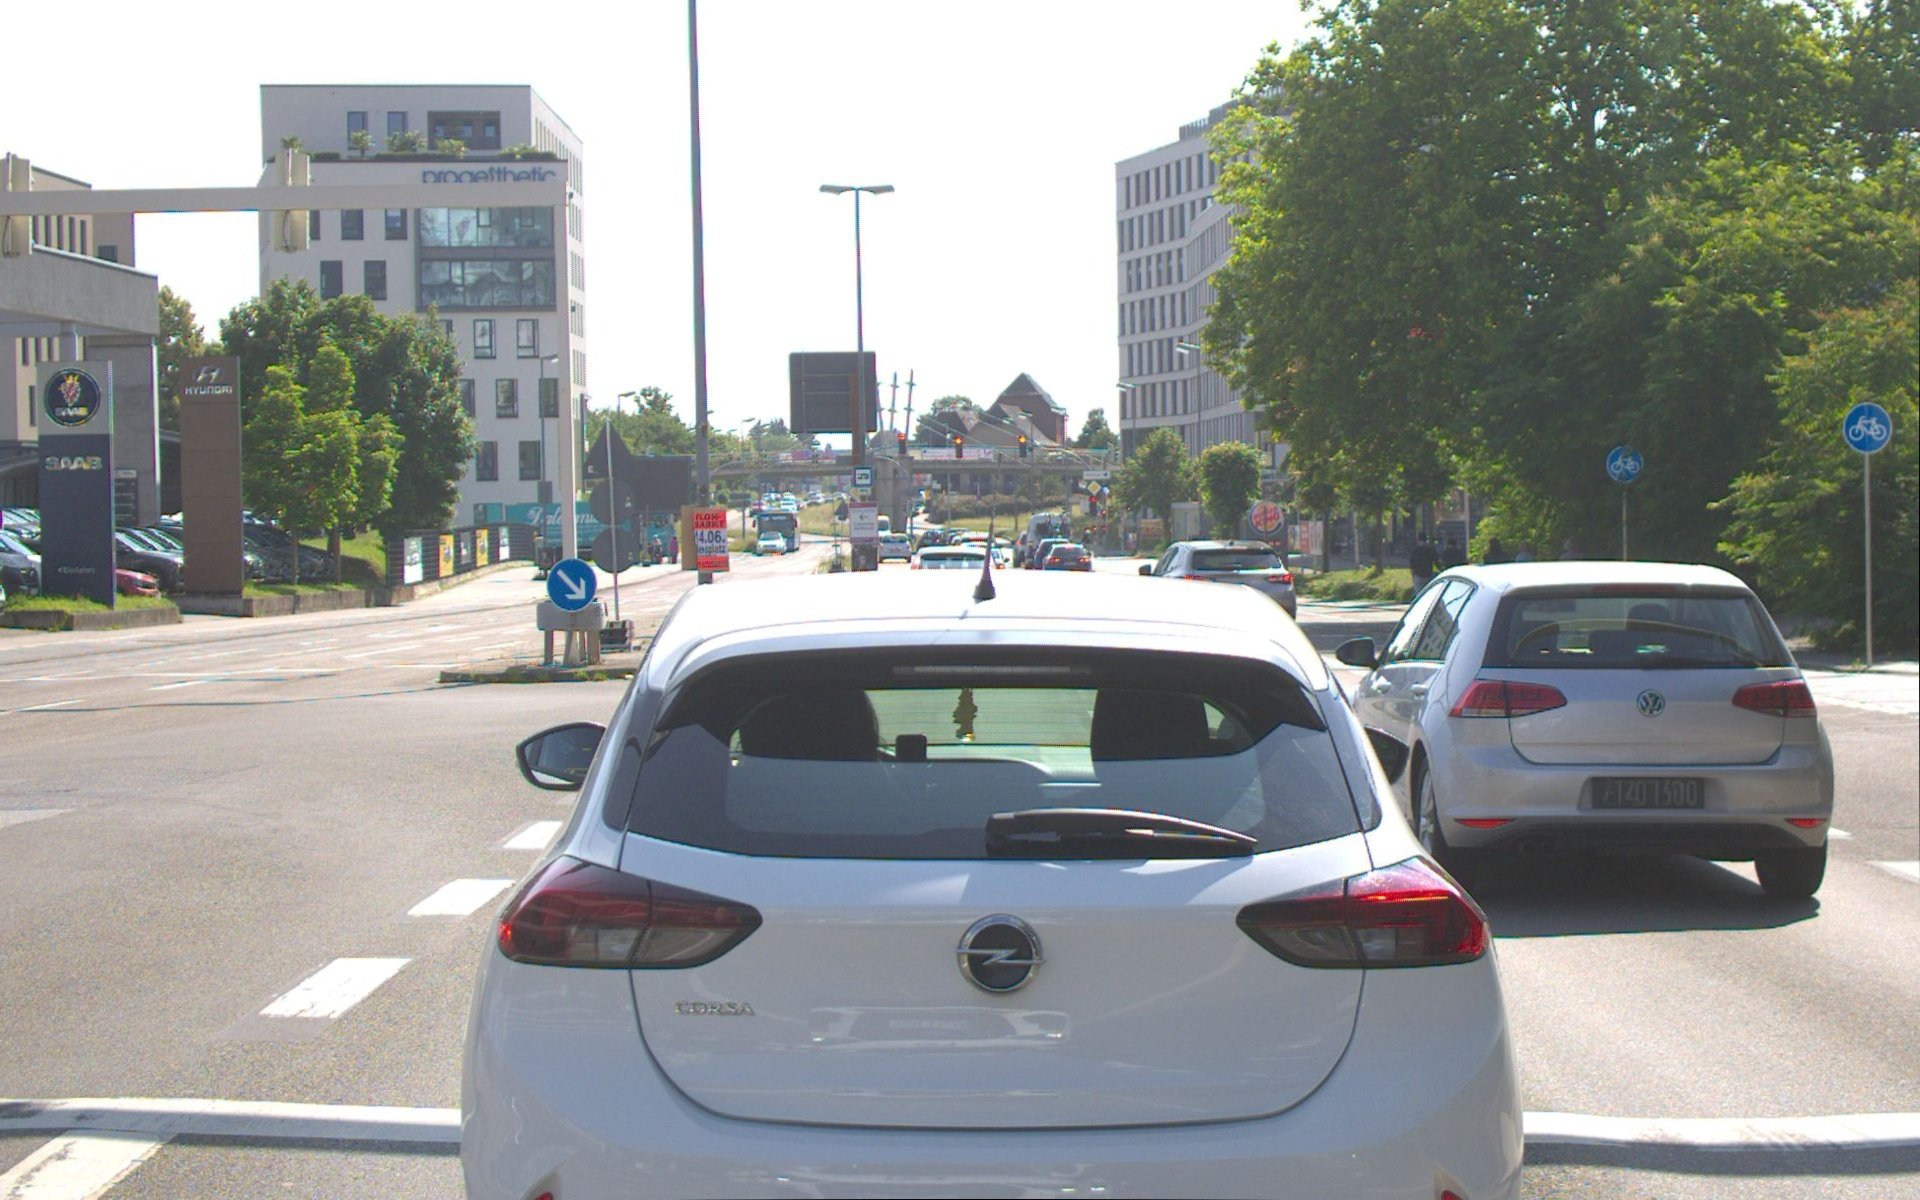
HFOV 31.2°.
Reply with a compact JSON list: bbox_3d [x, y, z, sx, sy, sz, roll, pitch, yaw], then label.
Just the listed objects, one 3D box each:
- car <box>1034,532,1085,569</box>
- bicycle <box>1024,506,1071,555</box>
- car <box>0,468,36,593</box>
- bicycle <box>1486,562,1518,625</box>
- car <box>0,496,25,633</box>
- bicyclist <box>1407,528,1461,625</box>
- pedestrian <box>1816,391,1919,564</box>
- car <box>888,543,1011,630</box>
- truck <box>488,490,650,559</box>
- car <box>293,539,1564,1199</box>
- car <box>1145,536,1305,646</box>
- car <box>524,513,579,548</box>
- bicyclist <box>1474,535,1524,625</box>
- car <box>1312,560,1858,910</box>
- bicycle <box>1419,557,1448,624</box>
[{"bbox_3d":[3.881,-1.931,134.636,1.806,1.381,4.000,1,0,0],"label":"car"},{"bbox_3d":[3.930,-3.138,154.796,1.993,2.150,4.000,-1,1,0],"label":"bicycle"},{"bbox_3d":[-21.977,-1.444,72.539,4.357,2.592,2.000,-1,1,5],"label":"car"},{"bbox_3d":[9.884,-0.120,62.725,0.373,1.143,1.034,1,0,-2],"label":"bicycle"},{"bbox_3d":[-20.858,-0.670,67.182,4.498,2.675,2.128,-1,1,9],"label":"car"},{"bbox_3d":[8.750,-0.436,63.490,0.879,1.766,0.864,-1,1,0],"label":"bicyclist"},{"bbox_3d":[10.790,-1.445,40.720,1.027,2.007,1.038,-1,1,0],"label":"pedestrian"},{"bbox_3d":[-0.219,-0.254,59.888,1.993,1.442,4.371,0,1,-2],"label":"car"},{"bbox_3d":[-22.575,-4.343,198.199,9.058,3.821,3.082,-1,1,-10],"label":"truck"},{"bbox_3d":[-0.053,0.634,6.840,1.779,1.489,4.000,-1,1,0],"label":"car"},{"bbox_3d":[3.885,-0.171,51.109,1.993,1.546,4.434,-1,1,0],"label":"car"},{"bbox_3d":[-16.802,-2.851,141.627,1.806,1.381,4.000,1,0,0],"label":"car"},{"bbox_3d":[9.838,-0.369,62.744,0.688,1.637,0.777,-1,1,-8],"label":"bicyclist"},{"bbox_3d":[2.783,0.540,16.181,1.807,1.424,4.000,-1,1,0],"label":"car"},{"bbox_3d":[8.744,-0.175,63.506,0.372,1.212,1.154,1,1,0],"label":"bicycle"}]
